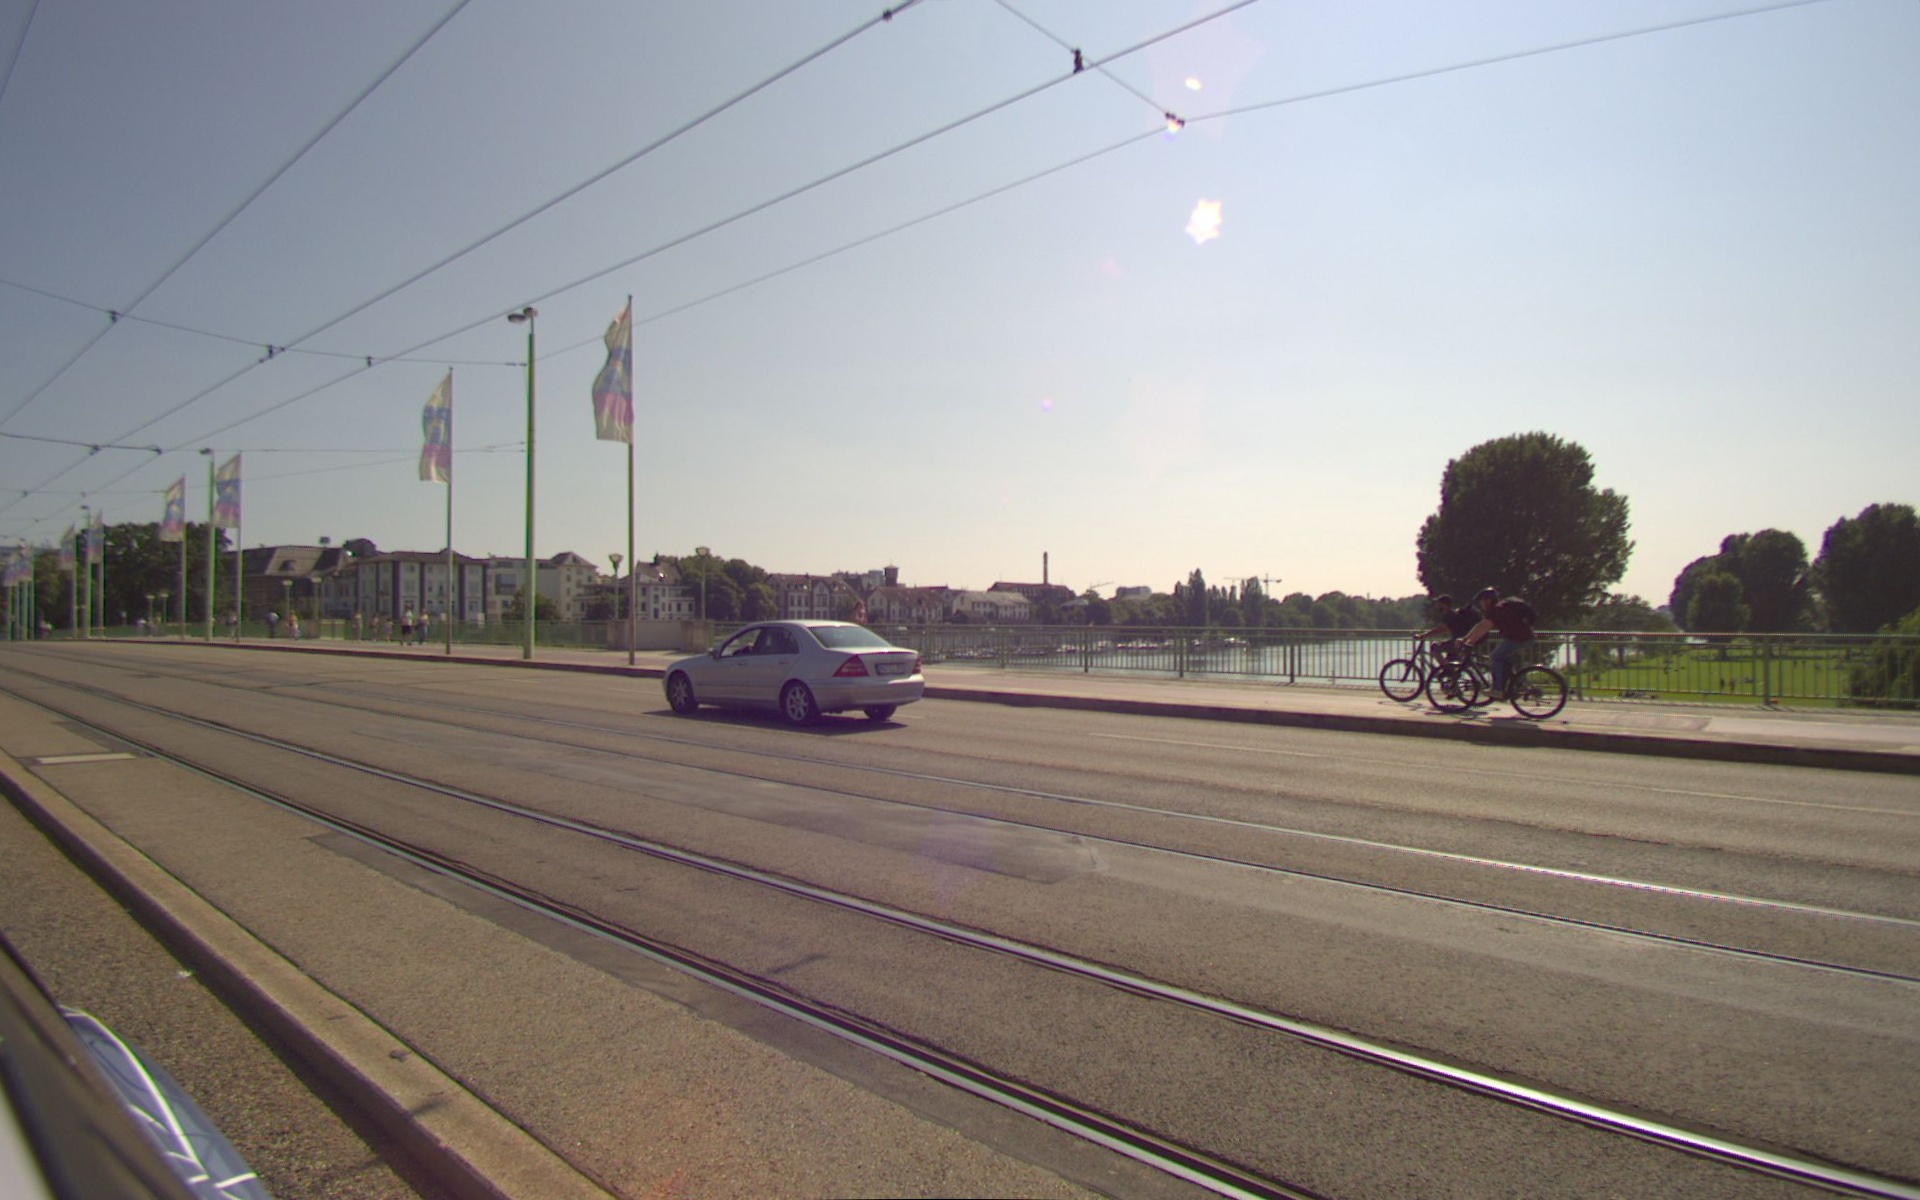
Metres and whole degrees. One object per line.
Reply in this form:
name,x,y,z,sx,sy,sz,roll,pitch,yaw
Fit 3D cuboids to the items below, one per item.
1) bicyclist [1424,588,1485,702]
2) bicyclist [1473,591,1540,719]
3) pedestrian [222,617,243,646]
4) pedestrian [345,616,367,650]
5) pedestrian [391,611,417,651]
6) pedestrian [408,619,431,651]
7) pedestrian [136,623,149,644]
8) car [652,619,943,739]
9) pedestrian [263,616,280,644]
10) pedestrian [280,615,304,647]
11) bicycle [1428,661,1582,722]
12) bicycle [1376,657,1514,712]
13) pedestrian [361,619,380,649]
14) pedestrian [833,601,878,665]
bicyclist,7.391,0.659,15.134,0.621,1.663,0.621,-2,-1,42
bicyclist,7.370,0.726,13.655,0.621,1.663,0.621,-2,-1,42
pedestrian,-45.617,1.995,63.451,1.022,1.712,0.777,-5,-2,41
pedestrian,-29.769,1.619,49.872,1.022,1.611,0.619,-1,0,41
pedestrian,-24.451,1.372,44.506,1.022,1.712,0.663,-1,0,41
pedestrian,-24.042,1.550,45.016,1.022,1.425,0.584,-1,0,41
pedestrian,-68.115,2.784,84.291,0.904,1.712,0.584,-1,3,41
car,-2.443,1.010,14.576,4.370,1.471,1.713,-1,-1,40
pedestrian,-41.835,1.816,61.478,1.022,1.712,0.584,-1,0,41
pedestrian,-36.143,1.663,54.761,1.022,1.712,0.777,-1,1,41
bicycle,7.344,1.215,13.681,1.730,0.721,0.614,-2,-1,42
bicycle,7.284,1.252,15.247,1.770,0.721,0.614,-2,-1,42
pedestrian,-29.356,1.692,50.382,0.788,1.448,0.540,-1,0,41
pedestrian,-2.836,0.887,27.471,1.022,1.703,0.677,-1,0,41
